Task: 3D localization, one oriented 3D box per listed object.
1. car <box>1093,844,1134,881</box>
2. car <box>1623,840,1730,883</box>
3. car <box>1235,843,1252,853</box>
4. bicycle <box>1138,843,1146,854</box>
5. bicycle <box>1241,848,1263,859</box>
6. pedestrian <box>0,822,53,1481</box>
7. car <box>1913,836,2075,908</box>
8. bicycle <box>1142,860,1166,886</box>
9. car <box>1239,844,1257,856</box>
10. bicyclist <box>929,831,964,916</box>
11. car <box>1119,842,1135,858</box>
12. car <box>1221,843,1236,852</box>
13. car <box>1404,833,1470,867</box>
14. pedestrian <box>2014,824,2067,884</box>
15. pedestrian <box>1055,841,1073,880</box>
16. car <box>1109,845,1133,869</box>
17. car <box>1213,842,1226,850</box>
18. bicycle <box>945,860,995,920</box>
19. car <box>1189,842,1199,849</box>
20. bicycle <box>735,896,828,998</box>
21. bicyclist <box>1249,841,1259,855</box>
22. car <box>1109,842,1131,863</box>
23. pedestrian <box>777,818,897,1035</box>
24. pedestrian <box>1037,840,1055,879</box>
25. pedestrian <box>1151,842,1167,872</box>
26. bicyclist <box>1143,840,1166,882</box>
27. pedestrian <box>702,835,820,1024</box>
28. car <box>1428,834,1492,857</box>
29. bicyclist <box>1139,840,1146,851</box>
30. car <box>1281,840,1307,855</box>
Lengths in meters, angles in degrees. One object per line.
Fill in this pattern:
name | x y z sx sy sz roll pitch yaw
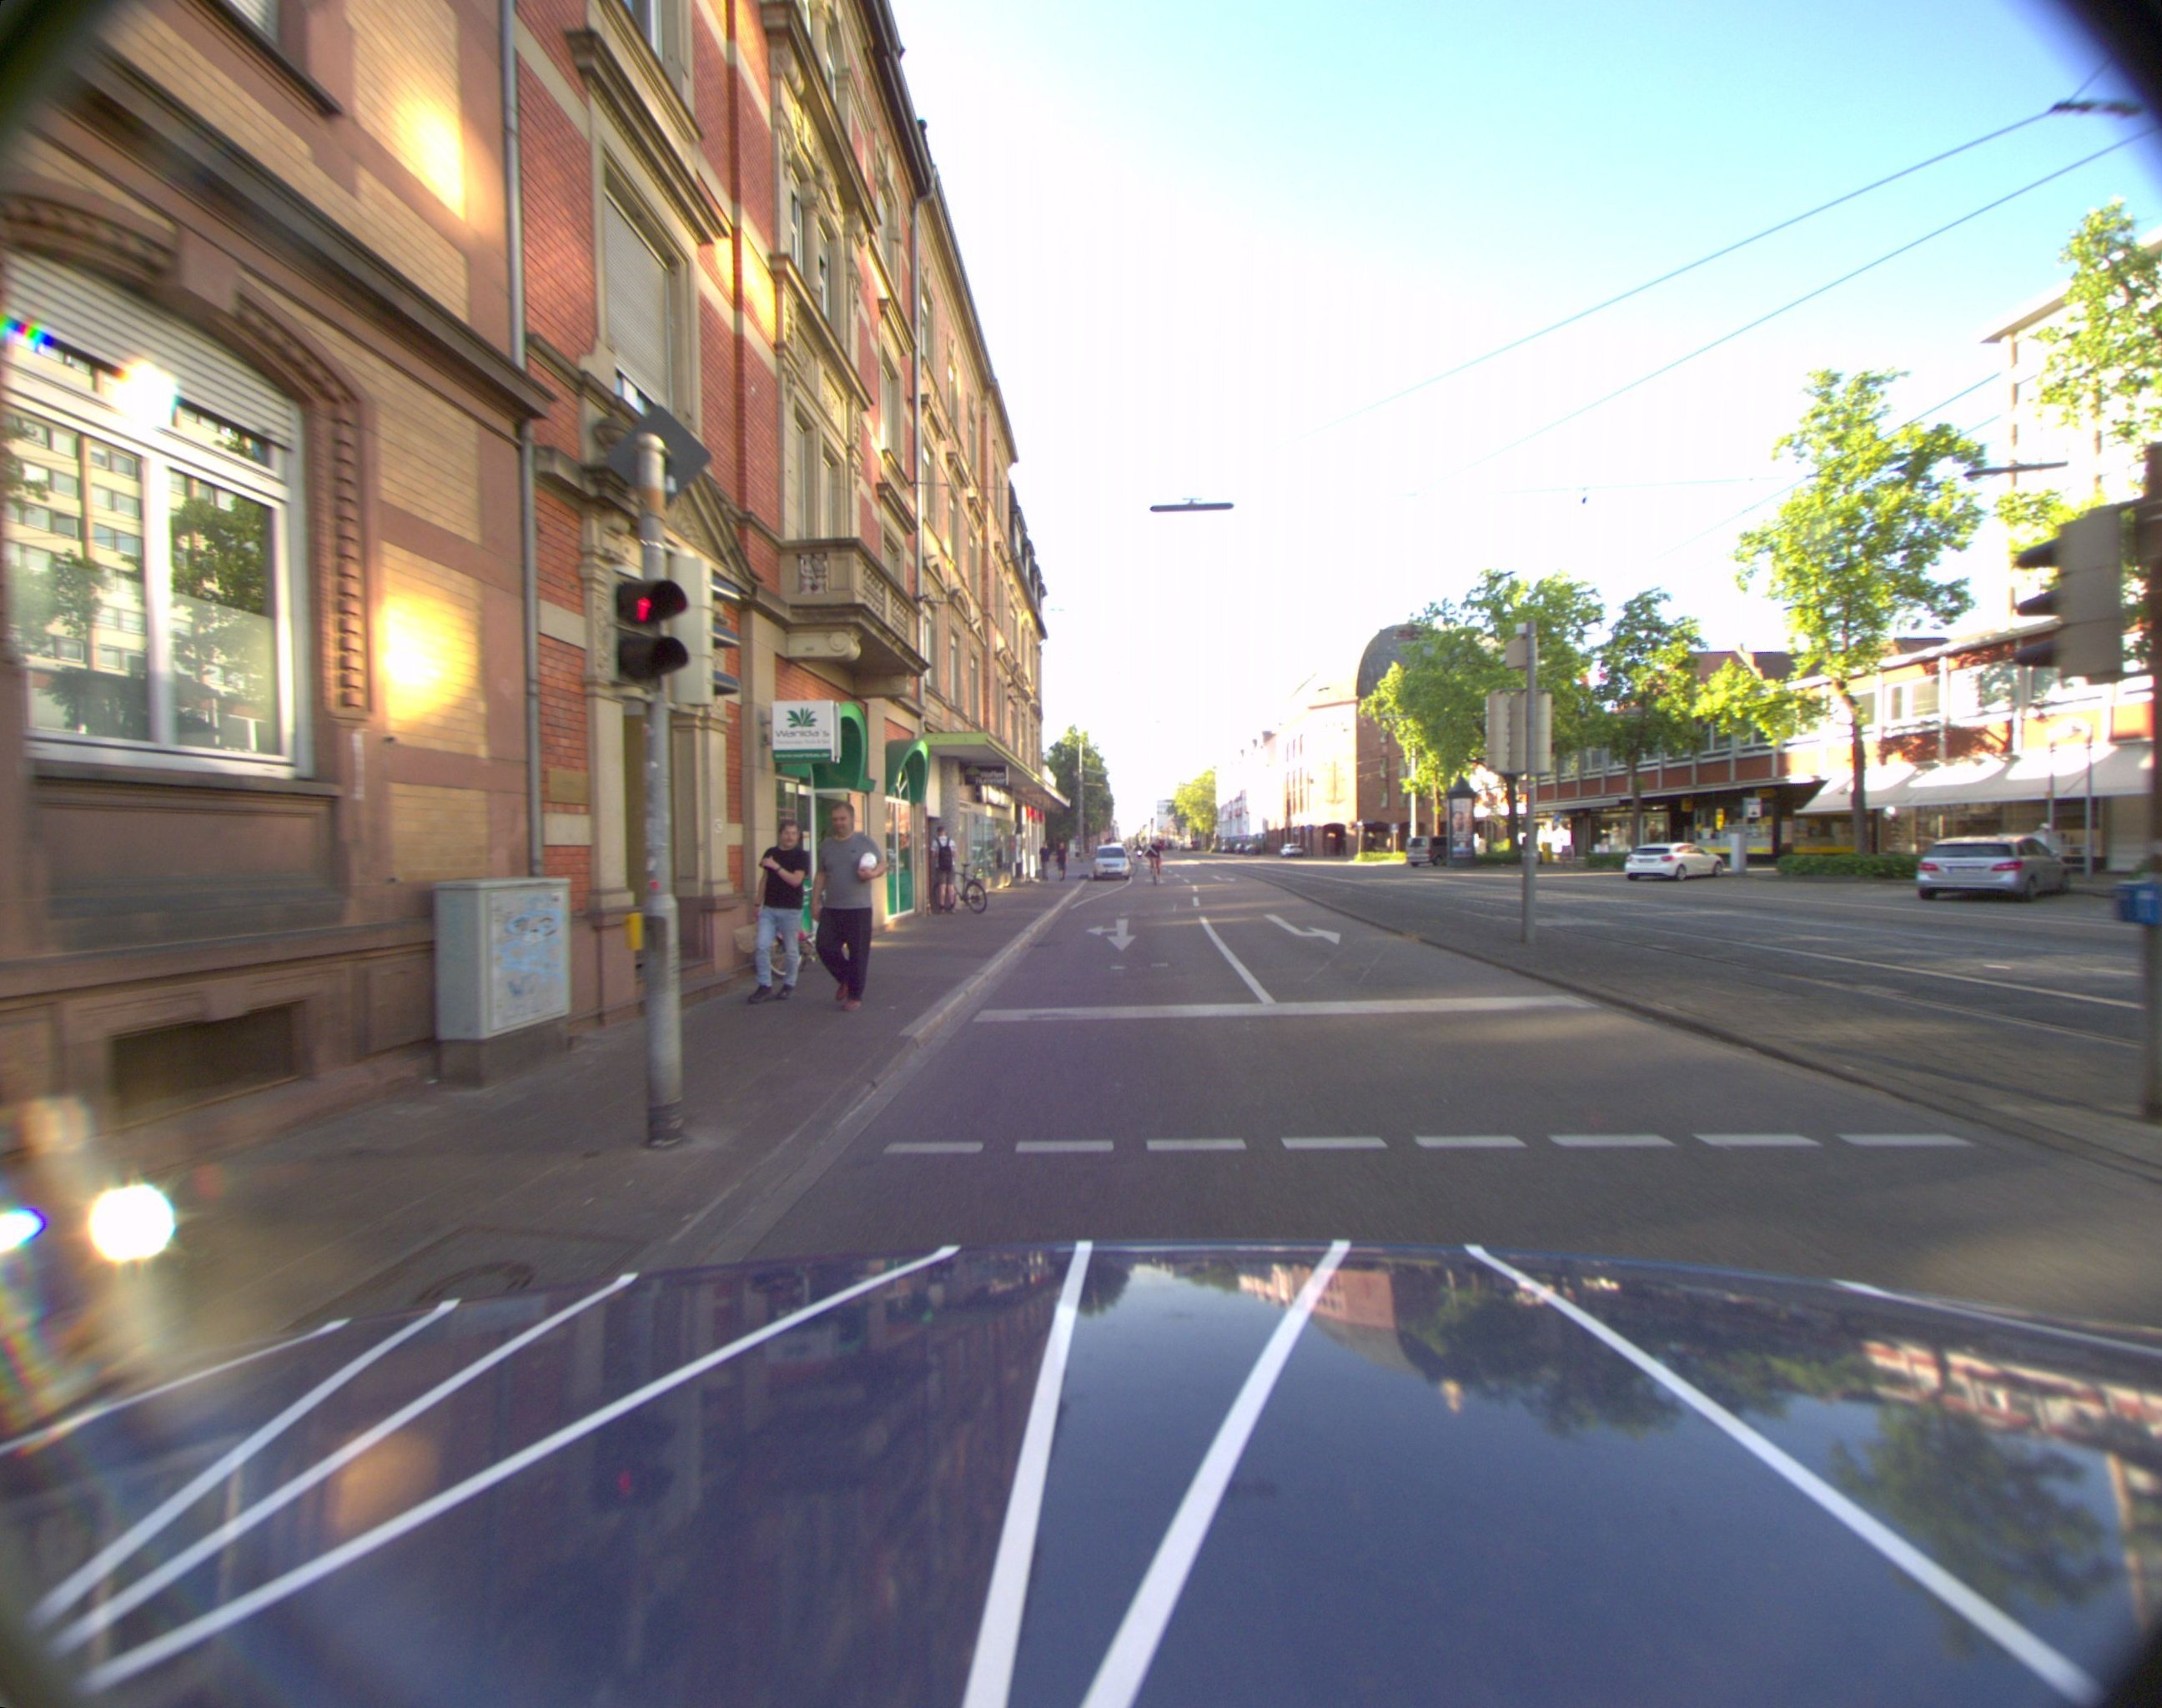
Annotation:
car | 1.619 0.363 36.474 1.670 1.674 4.001 -1 1 7
car | 23.334 0.258 29.753 4.005 1.466 1.794 -2 1 -28
car | 25.621 -0.958 119.813 1.964 1.594 3.999 -2 1 2
bicycle | 6.497 -0.567 81.119 0.646 1.176 1.804 0 1 1
bicycle | 17.201 -0.098 76.454 0.674 1.085 2.033 -2 2 -44
pedestrian | -3.207 0.773 1.698 0.777 1.713 0.754 1 1 4
car | 22.855 0.382 19.004 4.005 1.545 1.794 -2 2 -28
bicycle | 2.918 0.753 30.191 0.885 0.949 1.766 0 1 7
car | 24.949 -0.595 113.655 1.964 1.594 3.999 -2 1 2
bicyclist | -3.041 0.420 17.128 0.600 1.871 0.742 -1 2 -22
car | 5.249 -0.458 86.369 1.670 1.674 4.001 -1 1 5
car | 27.035 -1.256 139.190 1.964 1.594 3.999 -2 1 2
car | 22.751 -0.280 48.572 4.006 1.953 1.907 -3 2 -31
pedestrian | 28.656 -0.018 22.704 0.635 1.759 0.769 0 3 20
pedestrian | -0.750 0.271 33.678 0.700 1.713 0.502 1 2 5
car | 3.114 0.206 58.100 1.670 1.674 4.001 -1 1 5
car | 28.273 -1.671 155.171 1.964 1.594 3.999 -2 1 2
bicycle | -2.559 0.782 17.356 0.669 1.246 1.891 -1 1 -22
car | 27.621 -2.109 185.280 1.964 1.594 3.999 -2 1 2
bicycle | -3.391 1.019 8.684 0.345 0.990 1.241 1 1 13
bicyclist | 17.373 -0.624 76.258 0.674 1.414 0.761 -2 2 -44
car | 3.273 -0.120 63.526 1.670 1.674 4.001 -1 1 5
pedestrian | -2.219 0.628 7.000 0.823 1.884 0.754 1 1 4
pedestrian | -1.555 0.243 34.098 0.700 1.713 0.681 1 2 5
pedestrian | 4.303 0.152 42.060 0.849 1.652 0.850 0 1 7
bicyclist | 2.938 0.272 30.357 0.885 1.651 0.803 0 1 6
pedestrian | -3.040 0.679 7.285 0.777 1.713 0.754 1 1 4
car | 35.338 -0.790 70.877 4.982 2.002 2.000 0 1 1
bicyclist | 6.555 -0.896 81.144 0.646 1.176 0.723 -1 1 1
car | 24.222 -0.714 86.578 1.910 1.594 3.999 -2 1 2
